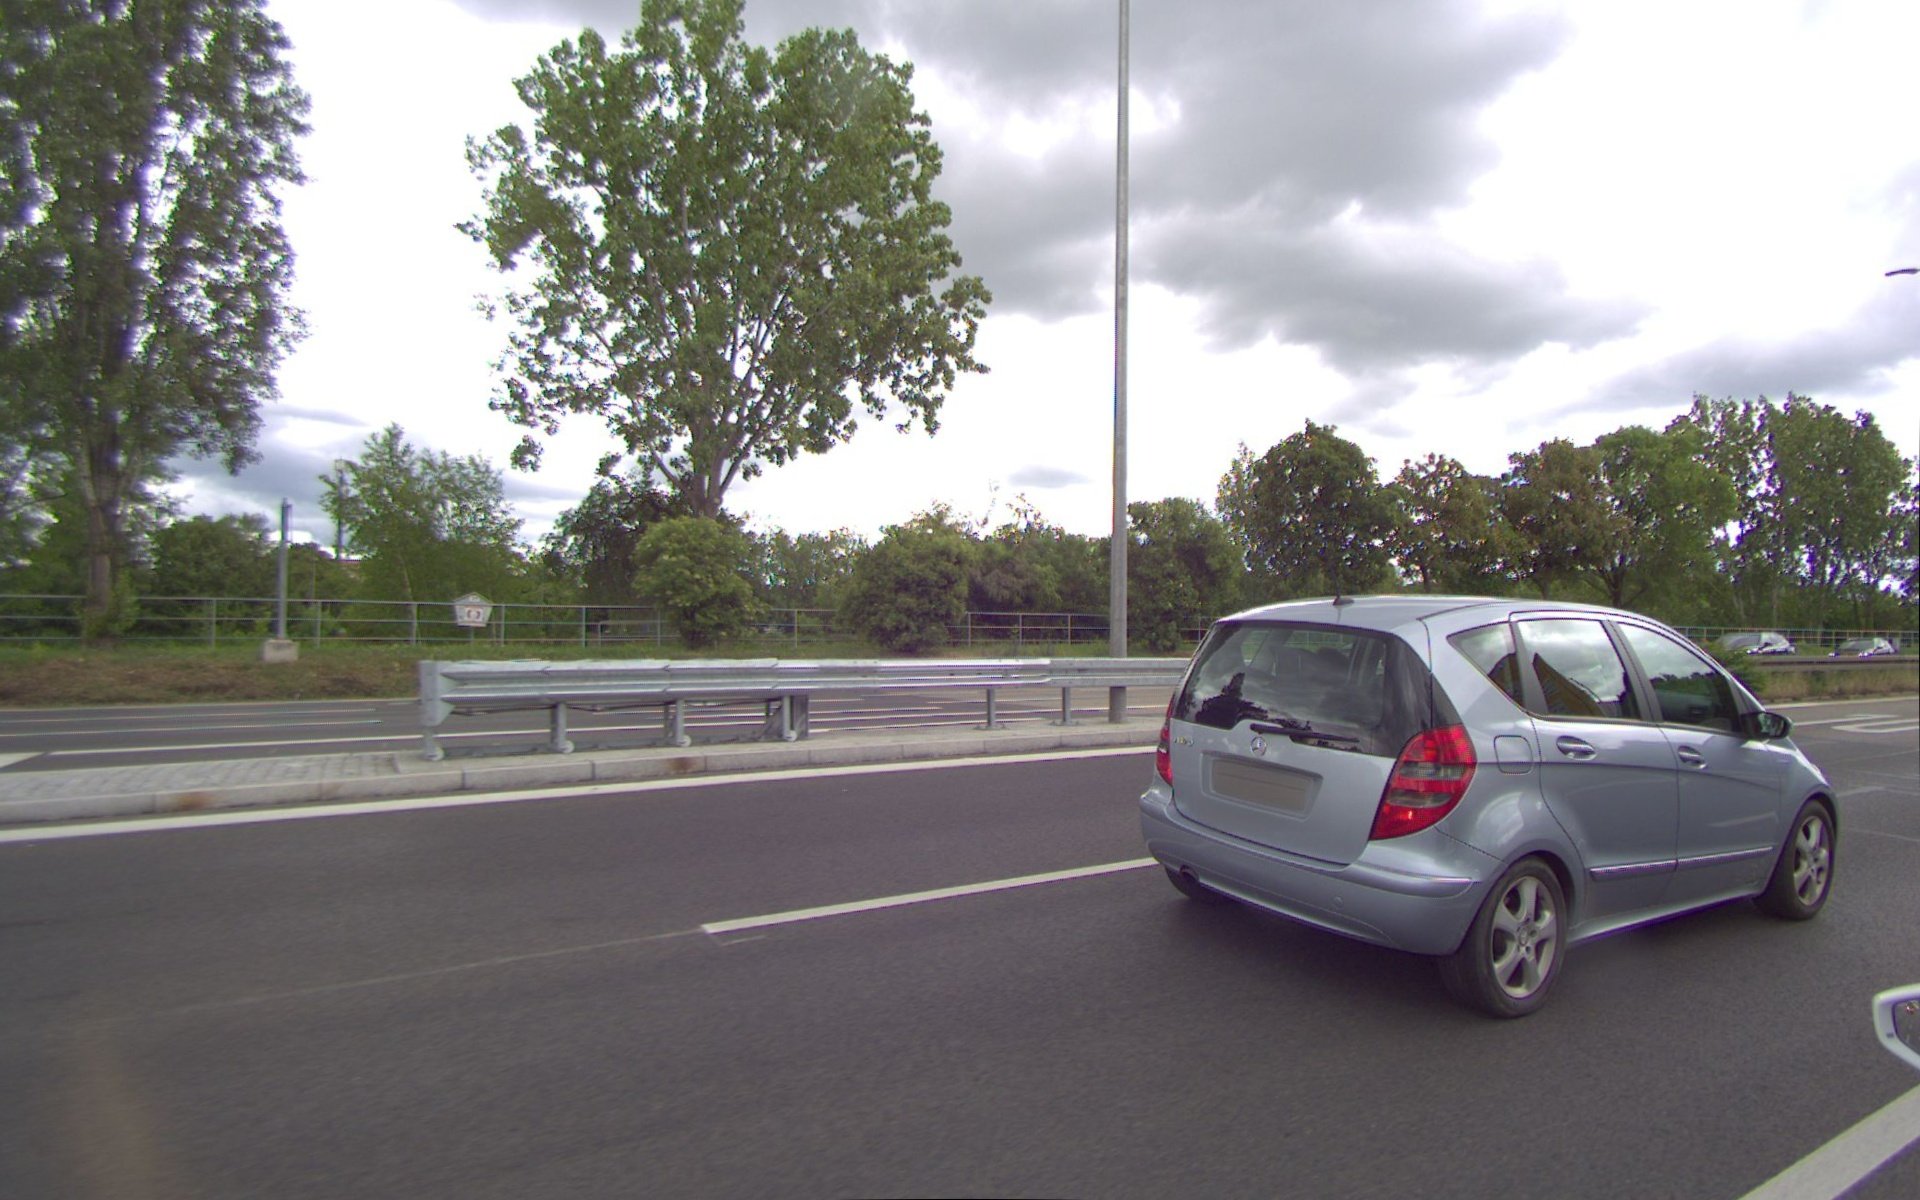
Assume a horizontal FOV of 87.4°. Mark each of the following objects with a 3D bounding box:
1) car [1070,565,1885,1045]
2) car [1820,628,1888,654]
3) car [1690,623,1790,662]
[{"bbox_3d":[2.761,0.706,5.145,4.099,1.559,1.869,1,-1,-31],"label":"car"},{"bbox_3d":[48.401,2.188,54.371,4.013,1.316,1.571,1,-1,-30],"label":"car"},{"bbox_3d":[30.809,1.662,39.661,4.019,1.437,1.768,1,-1,-30],"label":"car"}]
